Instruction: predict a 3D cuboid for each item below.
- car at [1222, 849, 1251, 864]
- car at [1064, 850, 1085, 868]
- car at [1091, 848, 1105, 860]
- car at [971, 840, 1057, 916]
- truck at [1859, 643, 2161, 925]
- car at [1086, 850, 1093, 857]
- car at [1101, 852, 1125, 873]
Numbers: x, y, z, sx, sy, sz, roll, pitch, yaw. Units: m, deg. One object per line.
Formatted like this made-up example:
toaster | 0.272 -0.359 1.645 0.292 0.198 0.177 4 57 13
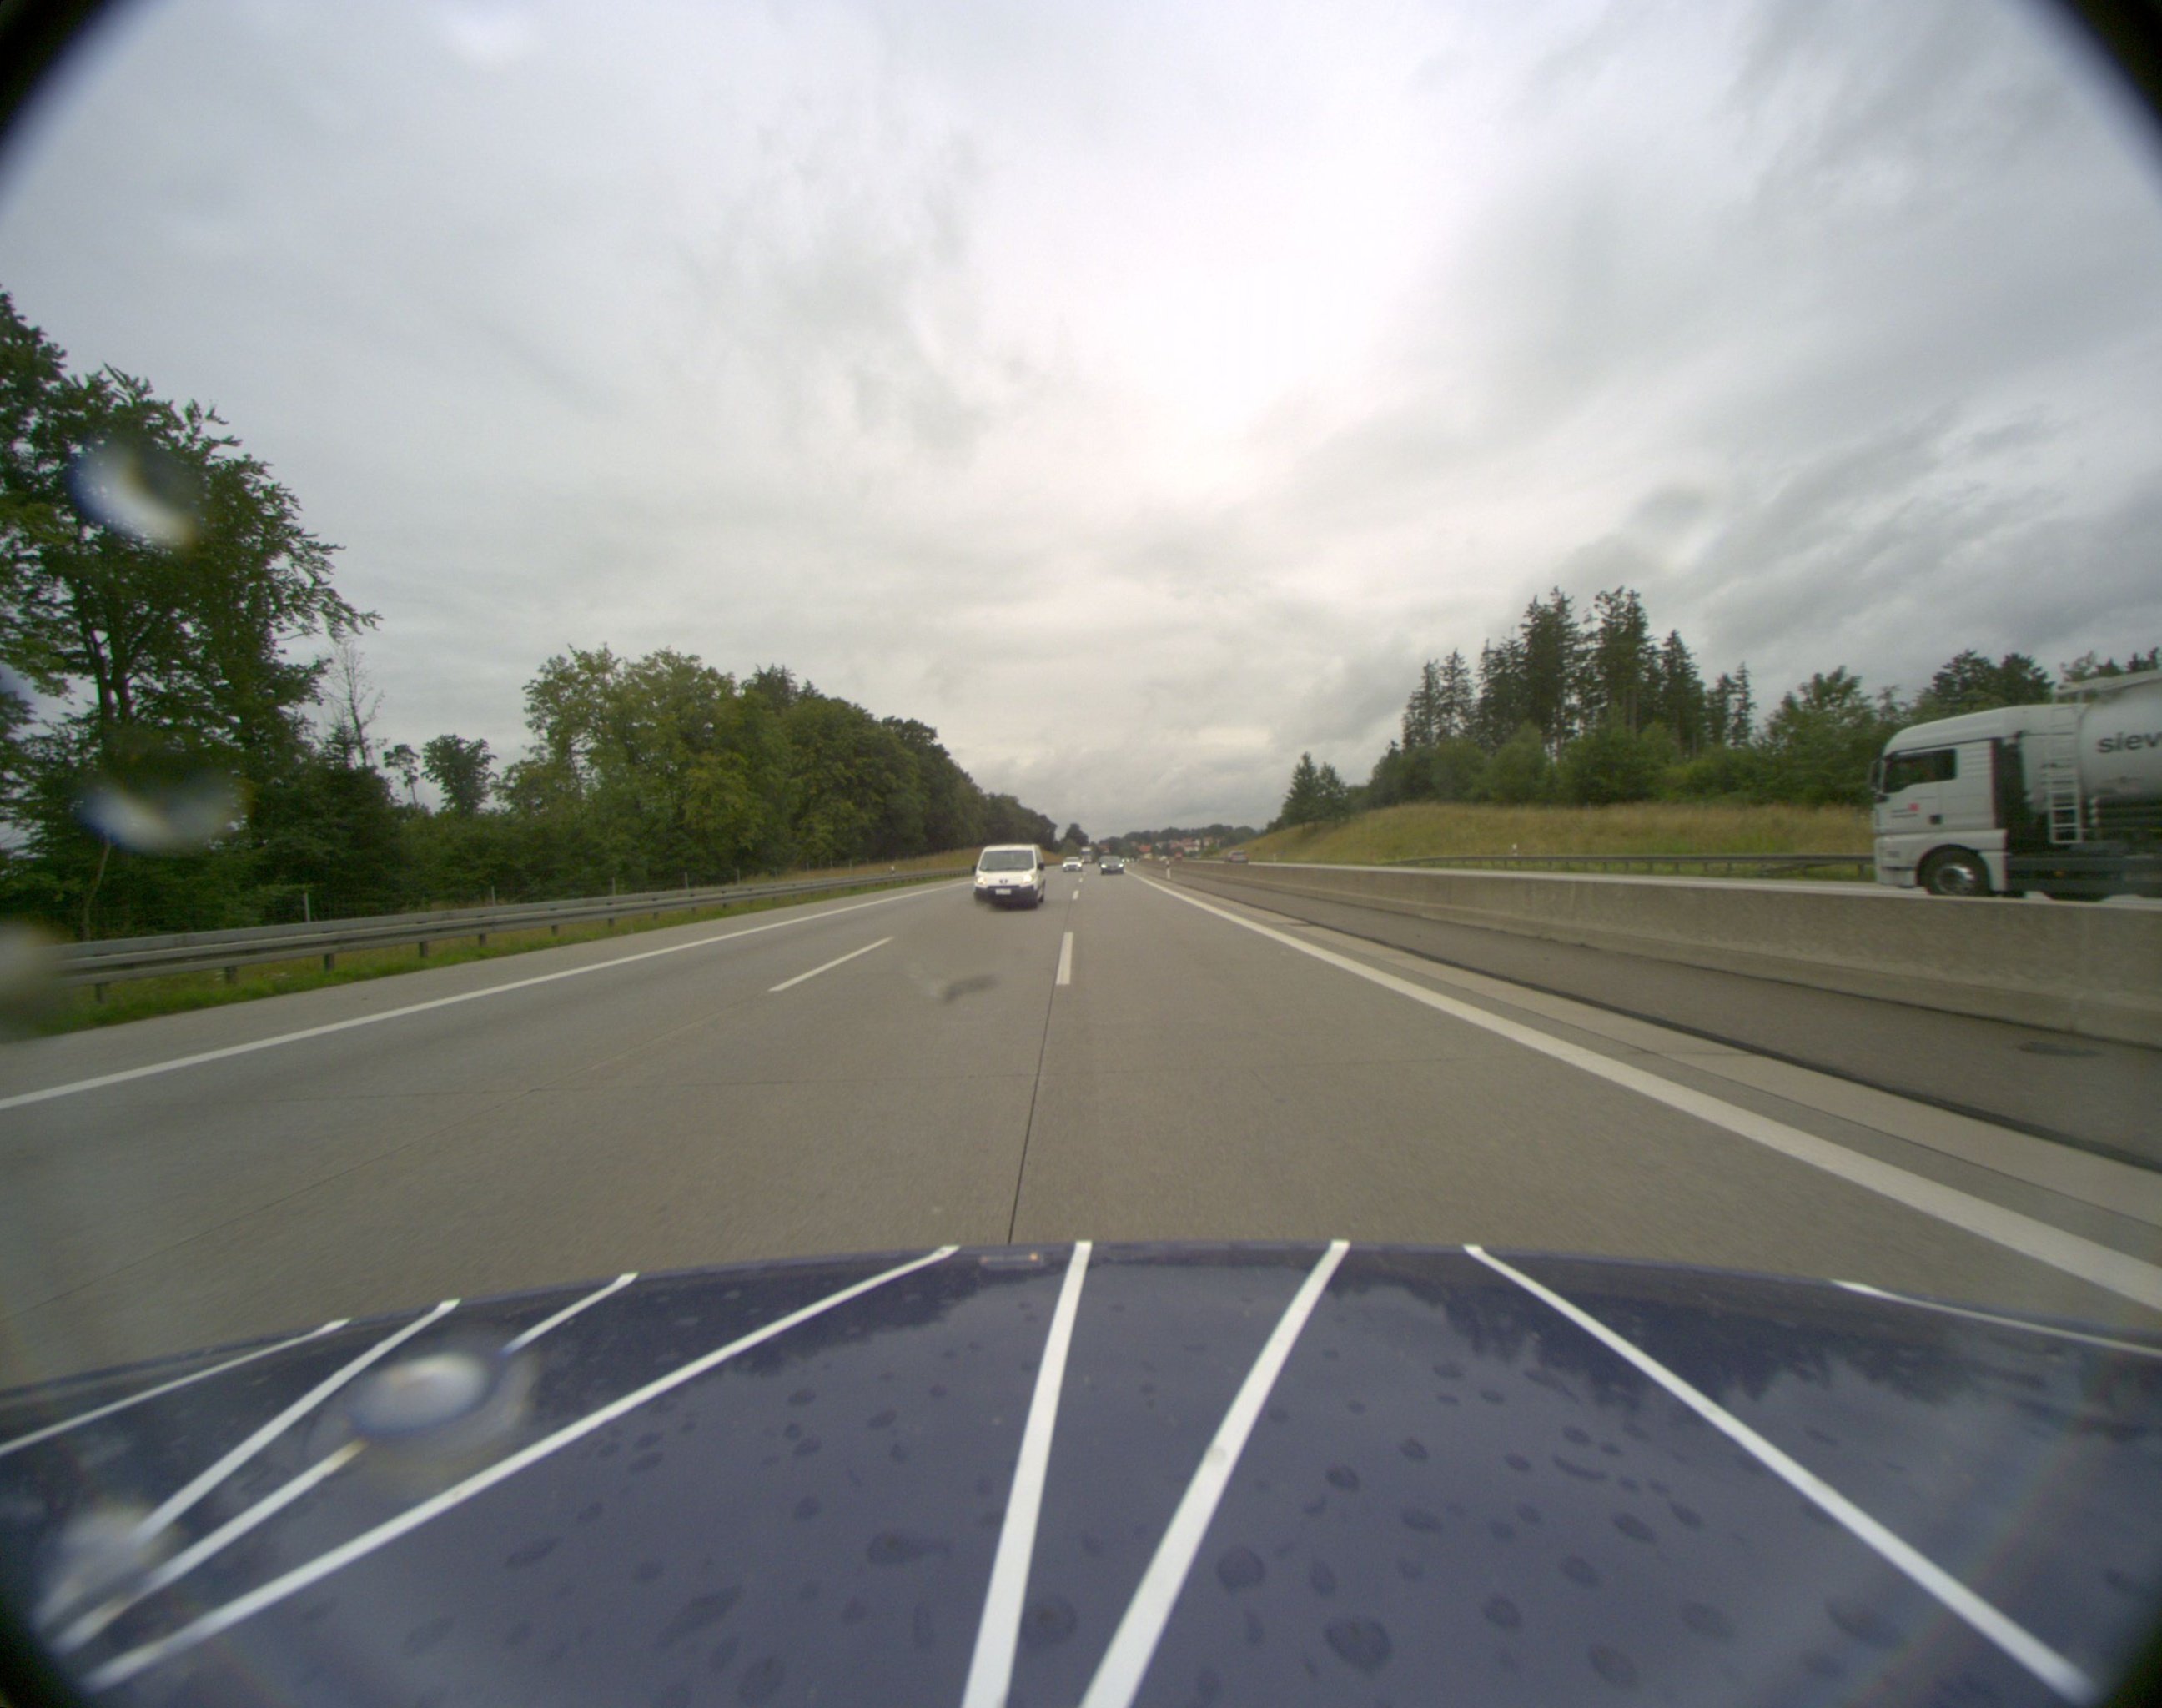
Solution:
car | 14.836 0.189 72.510 1.950 1.280 4.359 -2 1 2
car | -0.687 0.505 77.561 2.031 1.669 4.317 -2 1 -1
car | 2.506 -0.012 111.106 1.885 1.669 4.318 -2 1 0
car | -2.011 0.648 24.687 2.043 2.112 6.067 -2 1 1
truck | 17.185 -1.067 10.918 2.844 4.109 8.849 -2 1 -1
car | 2.190 -0.039 191.324 1.776 1.606 5.617 -2 1 1
car | 2.497 0.639 60.324 1.789 1.472 4.570 -2 1 2
